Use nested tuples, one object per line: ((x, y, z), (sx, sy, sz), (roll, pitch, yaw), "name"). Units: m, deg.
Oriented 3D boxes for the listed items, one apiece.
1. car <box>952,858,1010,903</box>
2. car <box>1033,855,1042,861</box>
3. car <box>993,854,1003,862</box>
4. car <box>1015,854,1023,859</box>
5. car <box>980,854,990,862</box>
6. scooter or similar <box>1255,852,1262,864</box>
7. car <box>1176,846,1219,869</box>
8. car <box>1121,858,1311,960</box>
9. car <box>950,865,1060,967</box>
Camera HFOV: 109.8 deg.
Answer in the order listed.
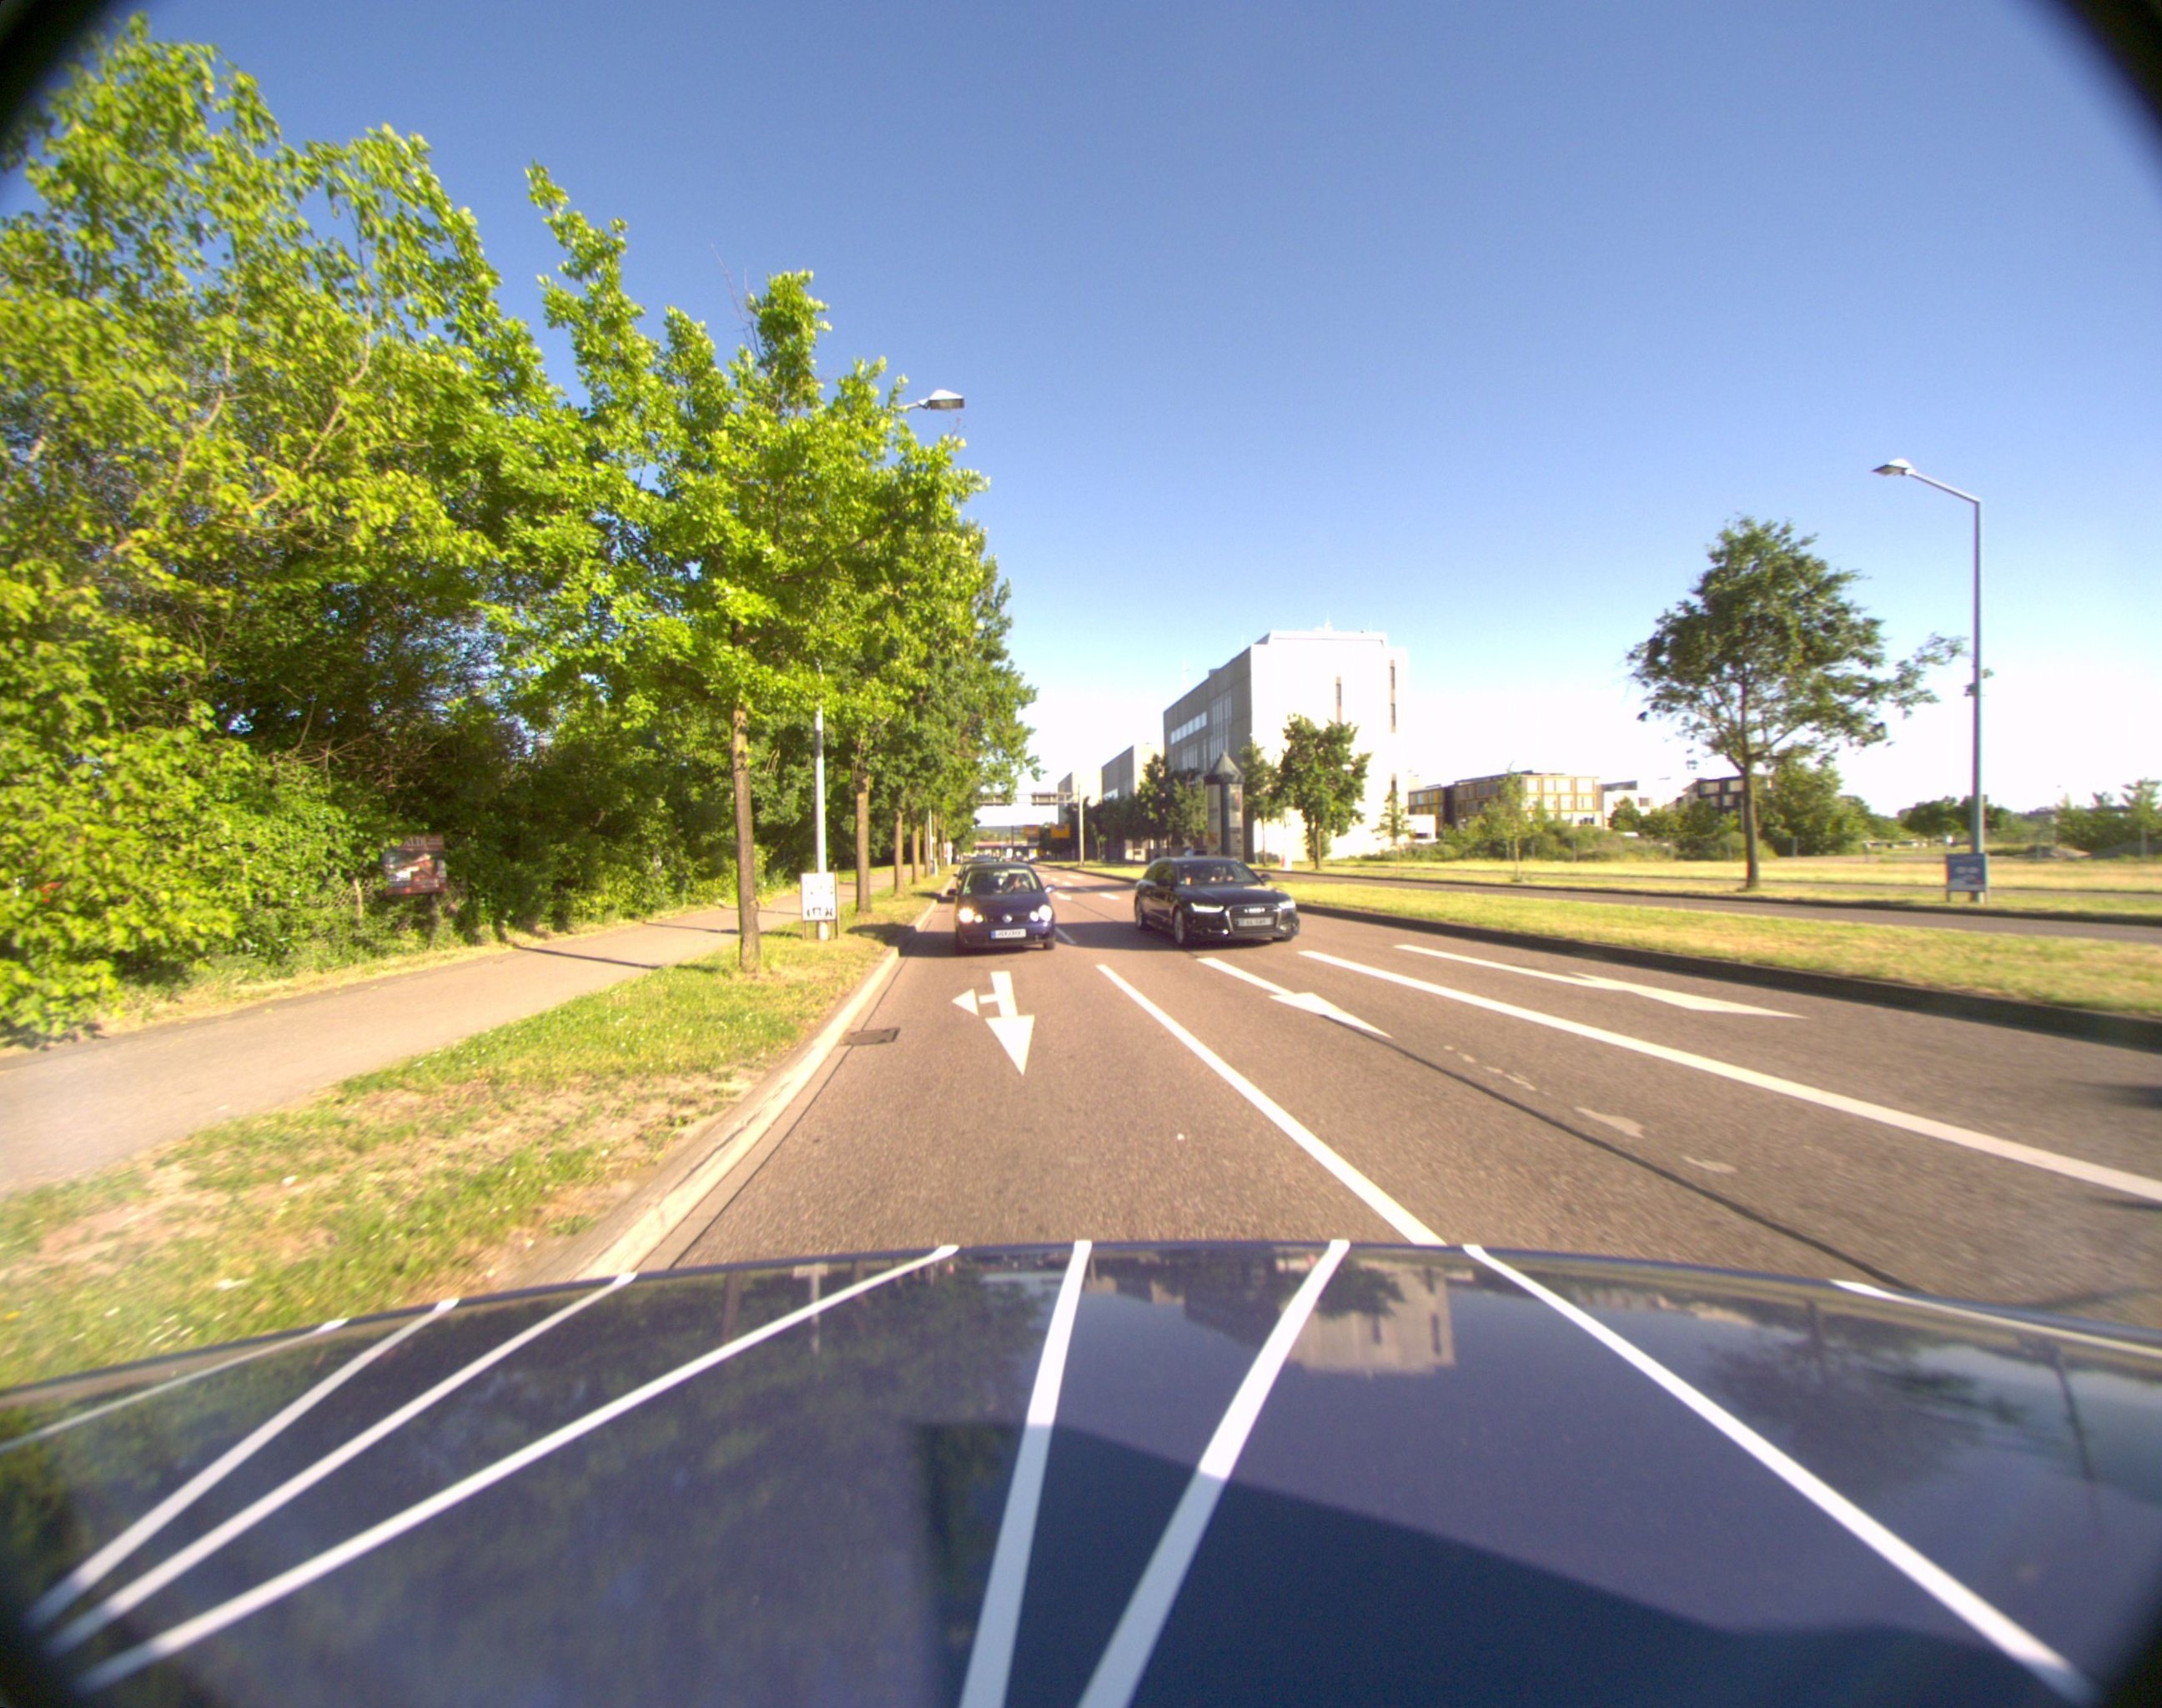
((-3.833, 0.925, 28.675), (1.759, 1.446, 3.995), (-3, 1, -12), "car")
((-12.226, 1.219, 212.484), (2.000, 1.569, 3.997), (-1, 0, -8), "car")
((-17.860, 0.883, 164.179), (1.999, 1.678, 3.998), (-1, 0, -4), "car")
((-19.014, 0.865, 233.425), (2.000, 1.569, 3.997), (-1, 0, -8), "car")
((-20.541, 0.875, 162.525), (1.999, 1.678, 3.998), (-1, 0, -4), "car")
((17.158, 0.402, 73.609), (0.453, 1.104, 1.406), (-1, 1, 6), "scooter or similar")
((9.005, 0.246, 59.162), (2.000, 1.729, 4.734), (-1, 1, -8), "car")
((2.144, 0.822, 13.728), (1.798, 1.435, 5.013), (-2, 0, -9), "car")
((-1.424, 0.987, 14.026), (1.638, 1.459, 4.543), (-2, 0, -6), "car")
